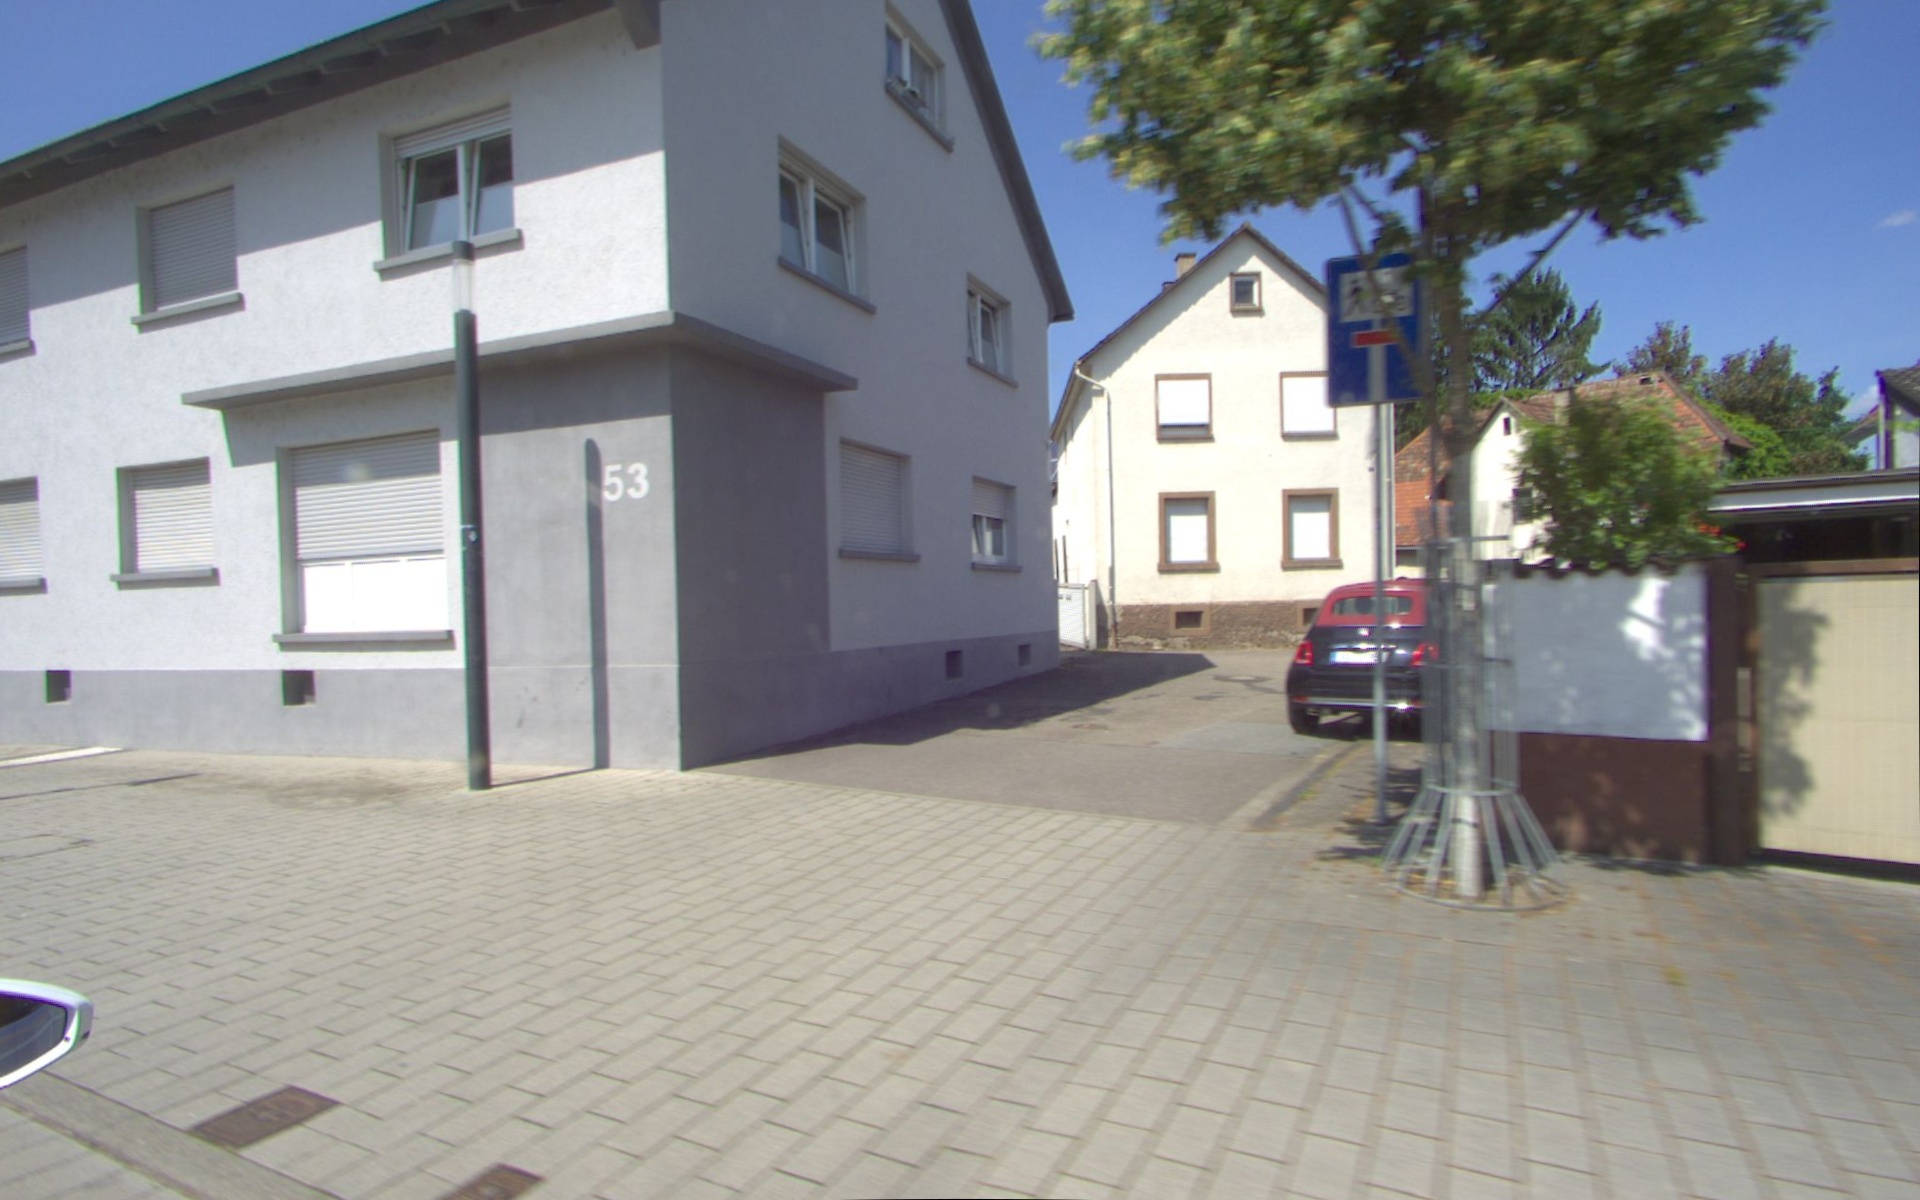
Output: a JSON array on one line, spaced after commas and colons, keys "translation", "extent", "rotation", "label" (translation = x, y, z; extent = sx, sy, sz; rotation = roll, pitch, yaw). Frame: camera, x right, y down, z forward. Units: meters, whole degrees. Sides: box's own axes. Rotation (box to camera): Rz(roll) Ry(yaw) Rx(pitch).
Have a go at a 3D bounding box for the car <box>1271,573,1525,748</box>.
[{"translation": [4.850, 0.519, 10.792], "extent": [1.658, 1.539, 3.787], "rotation": [-1, 0, 37], "label": "car"}]
